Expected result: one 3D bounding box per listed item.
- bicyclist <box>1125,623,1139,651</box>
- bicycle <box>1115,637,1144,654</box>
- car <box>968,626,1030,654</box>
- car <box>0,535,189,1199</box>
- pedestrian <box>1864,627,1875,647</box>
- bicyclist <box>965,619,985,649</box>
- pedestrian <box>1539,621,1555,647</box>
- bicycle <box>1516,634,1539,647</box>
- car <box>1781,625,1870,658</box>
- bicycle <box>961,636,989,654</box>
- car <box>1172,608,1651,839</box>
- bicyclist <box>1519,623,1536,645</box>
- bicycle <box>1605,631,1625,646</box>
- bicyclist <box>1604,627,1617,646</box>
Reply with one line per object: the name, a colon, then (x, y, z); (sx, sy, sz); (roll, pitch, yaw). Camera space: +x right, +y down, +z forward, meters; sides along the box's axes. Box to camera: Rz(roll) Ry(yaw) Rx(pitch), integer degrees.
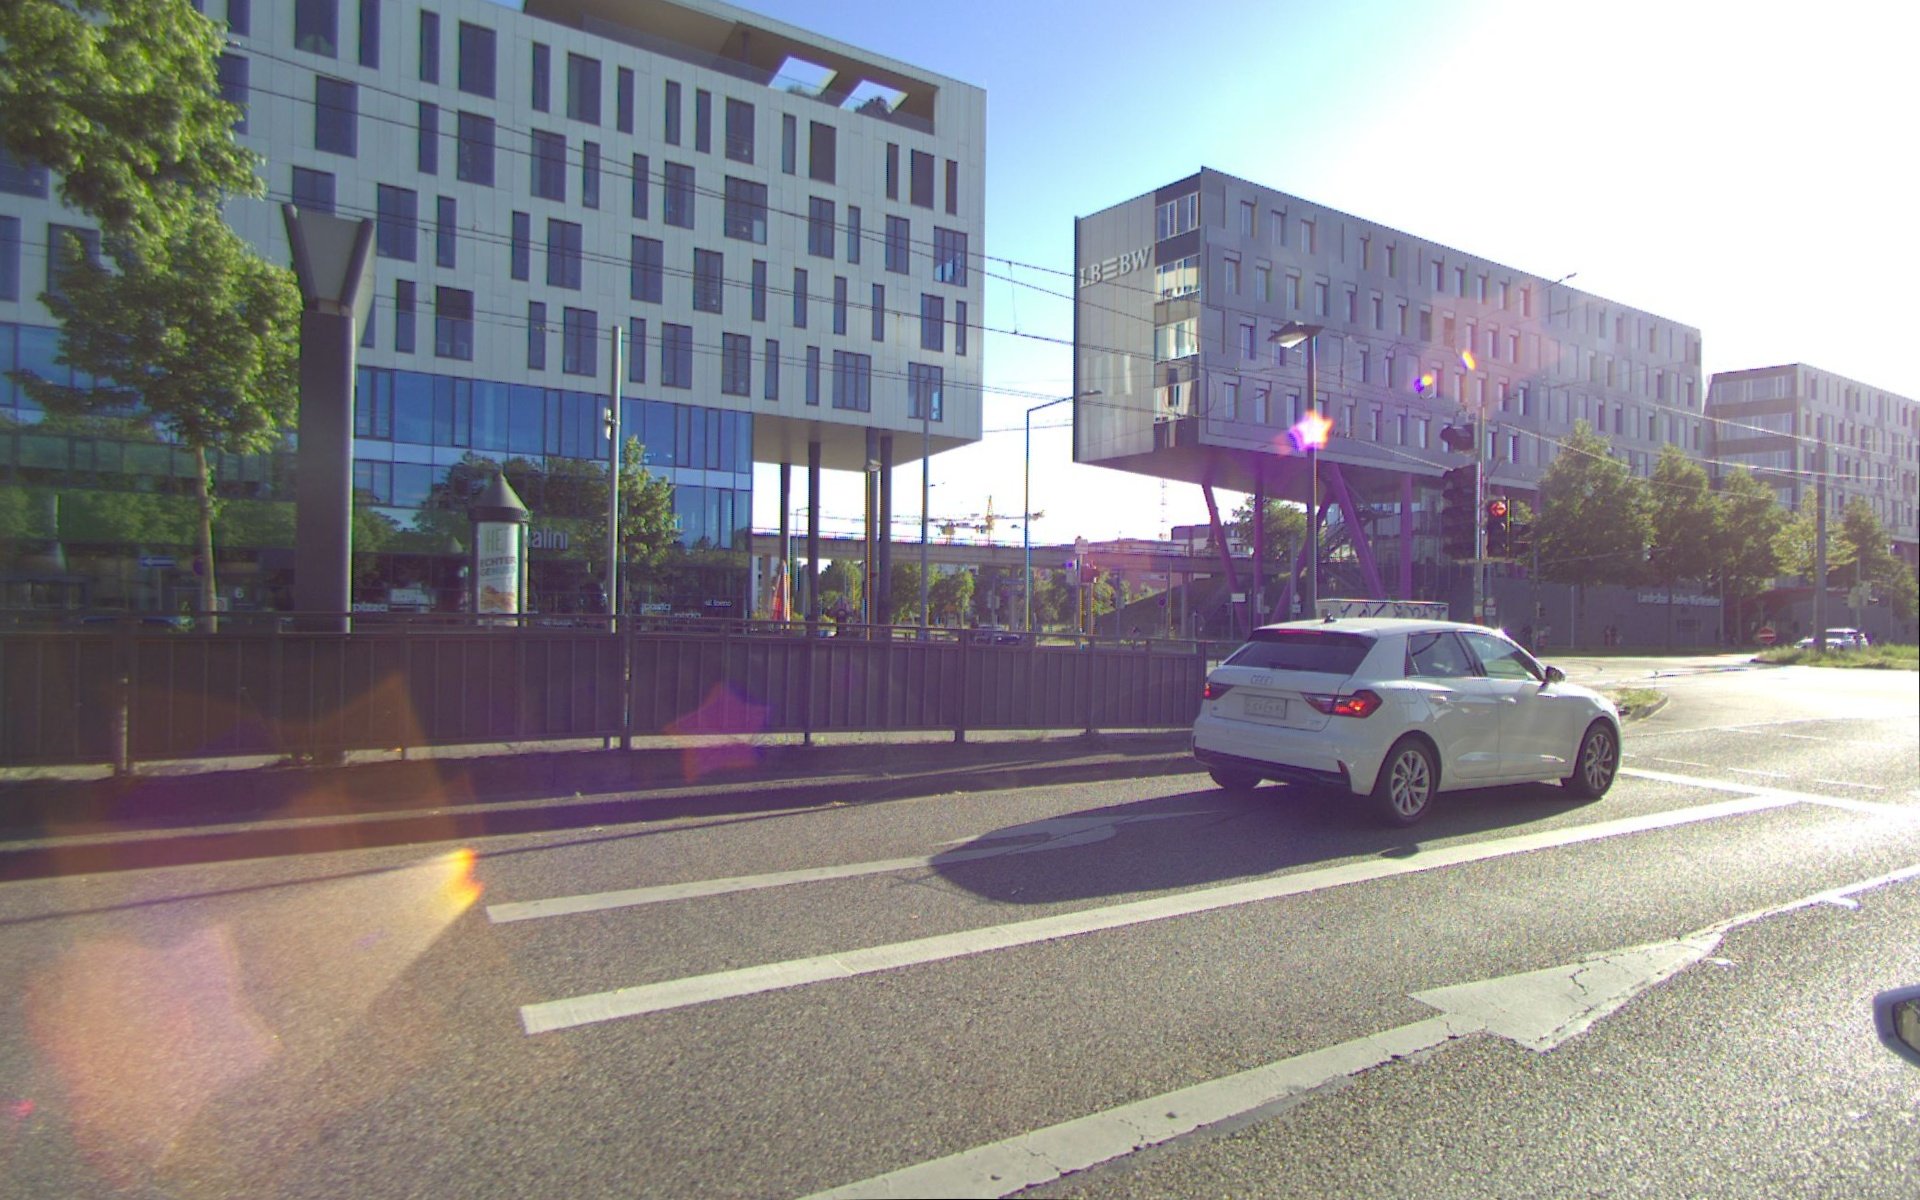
bicyclist: (8.908, 1.937, 52.118); (0.547, 1.442, 0.478); (1, -1, -33)
bicycle: (8.787, 2.349, 52.033); (1.675, 0.874, 0.478); (1, -1, -35)
car: (2.218, 2.298, 58.521); (1.974, 1.586, 3.974); (1, -1, -26)
car: (-3.452, 0.641, 0.345); (4.856, 1.547, 1.789); (1, 0, -32)
pedestrian: (96.799, 3.940, 106.919); (0.681, 2.040, 0.733); (1, -1, -29)
bicyclist: (0.820, 1.837, 54.232); (0.741, 1.604, 0.950); (1, -1, -28)
pedestrian: (43.058, 2.487, 73.681); (0.861, 1.846, 0.718); (1, -1, -29)
bicycle: (38.366, 2.734, 67.956); (1.671, 0.874, 0.573); (1, -1, -29)
car: (43.042, 2.041, 49.932); (4.816, 1.583, 1.983); (1, -1, -31)
bicycle: (0.789, 2.419, 54.284); (0.739, 0.874, 1.818); (1, -1, -27)
car: (3.783, 0.840, 8.234); (3.961, 1.445, 1.662); (1, 0, -32)
bicyclist: (38.409, 2.293, 67.981); (0.947, 1.454, 0.568); (1, -1, -29)
bicycle: (51.844, 3.043, 79.497); (1.952, 1.188, 0.517); (1, -1, -30)
bicyclist: (51.676, 2.885, 79.811); (0.754, 1.515, 0.556); (1, -1, -30)
